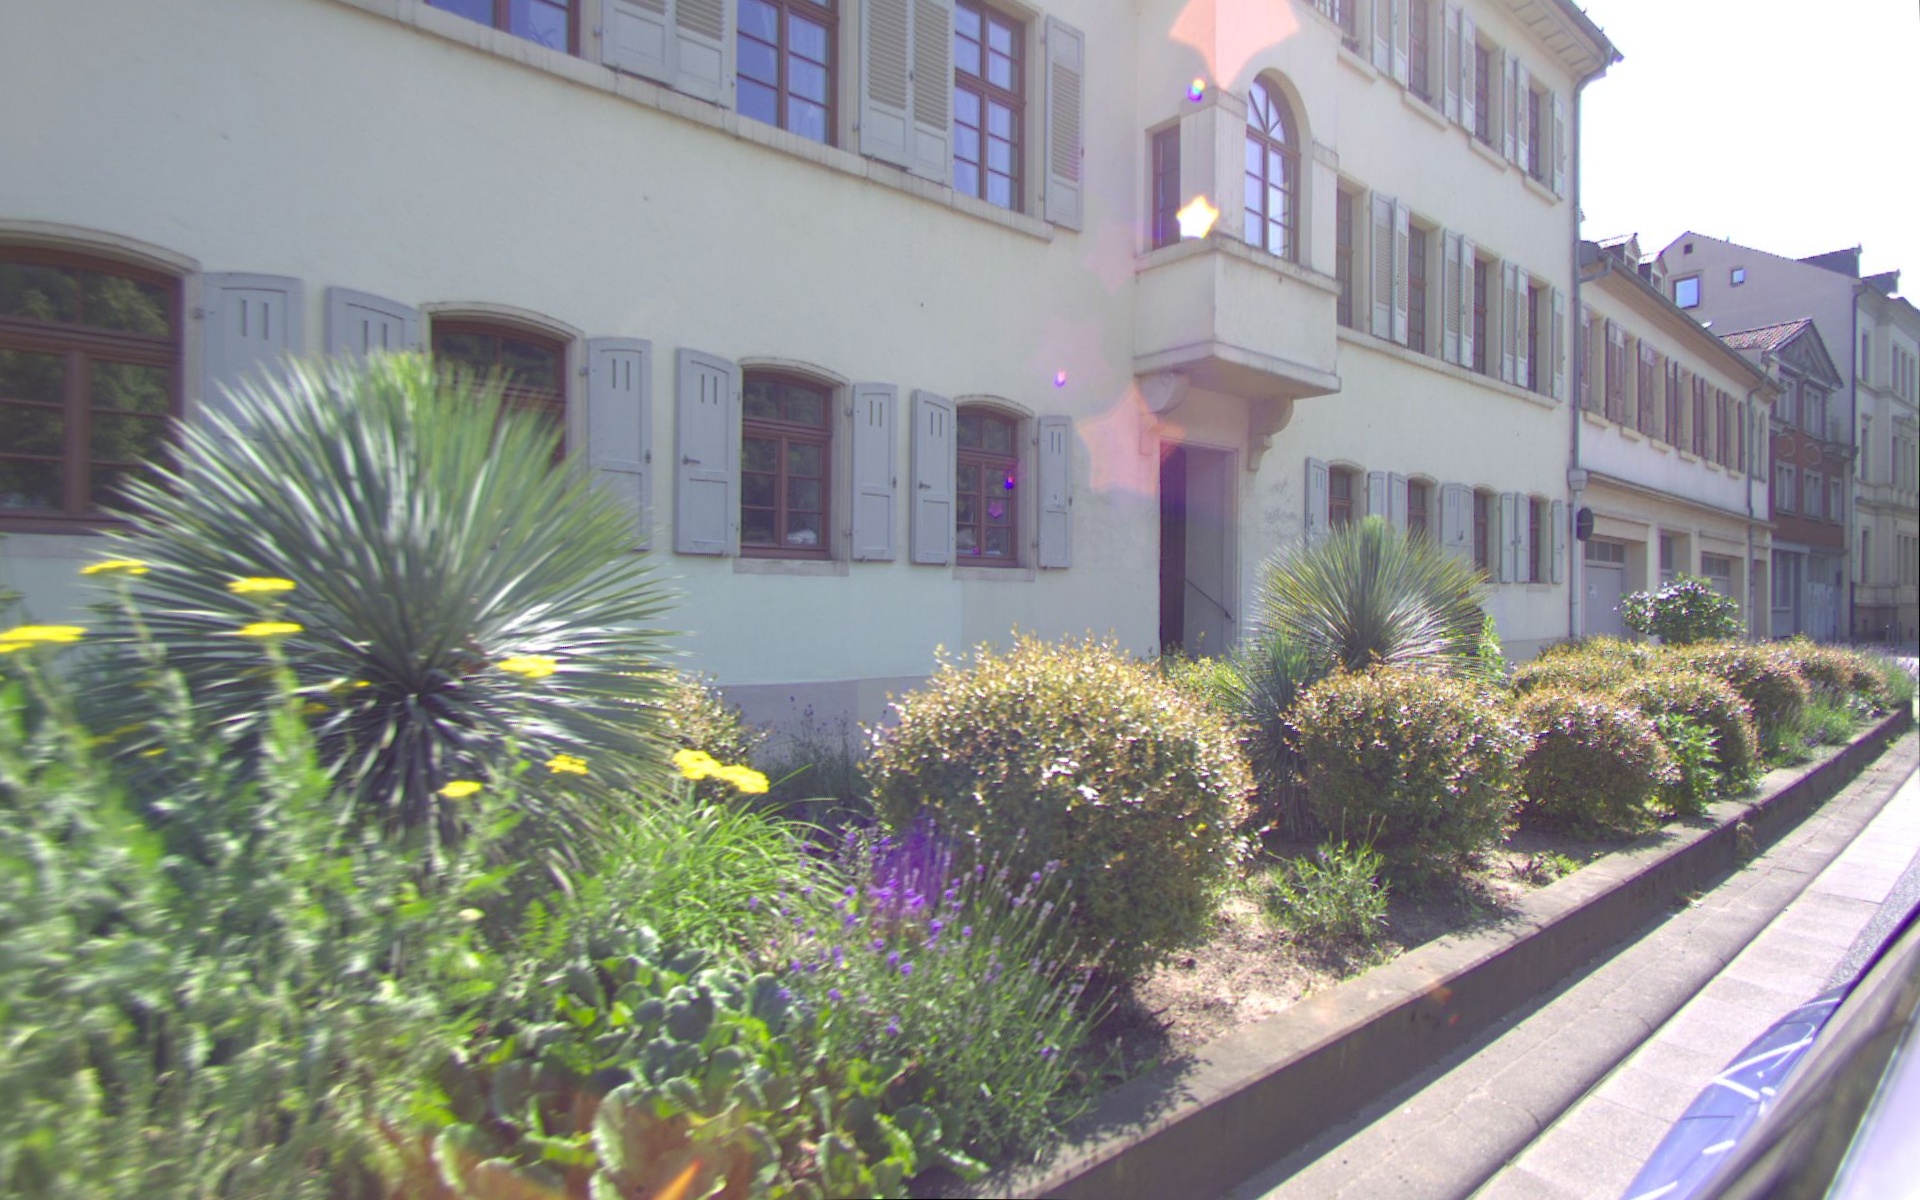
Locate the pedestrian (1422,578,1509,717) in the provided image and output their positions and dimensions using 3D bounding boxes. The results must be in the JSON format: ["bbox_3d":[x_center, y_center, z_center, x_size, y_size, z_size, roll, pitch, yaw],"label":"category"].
[{"bbox_3d":[6.688,0.599,13.395,0.684,1.734,0.763,0,3,-41],"label":"pedestrian"}]
